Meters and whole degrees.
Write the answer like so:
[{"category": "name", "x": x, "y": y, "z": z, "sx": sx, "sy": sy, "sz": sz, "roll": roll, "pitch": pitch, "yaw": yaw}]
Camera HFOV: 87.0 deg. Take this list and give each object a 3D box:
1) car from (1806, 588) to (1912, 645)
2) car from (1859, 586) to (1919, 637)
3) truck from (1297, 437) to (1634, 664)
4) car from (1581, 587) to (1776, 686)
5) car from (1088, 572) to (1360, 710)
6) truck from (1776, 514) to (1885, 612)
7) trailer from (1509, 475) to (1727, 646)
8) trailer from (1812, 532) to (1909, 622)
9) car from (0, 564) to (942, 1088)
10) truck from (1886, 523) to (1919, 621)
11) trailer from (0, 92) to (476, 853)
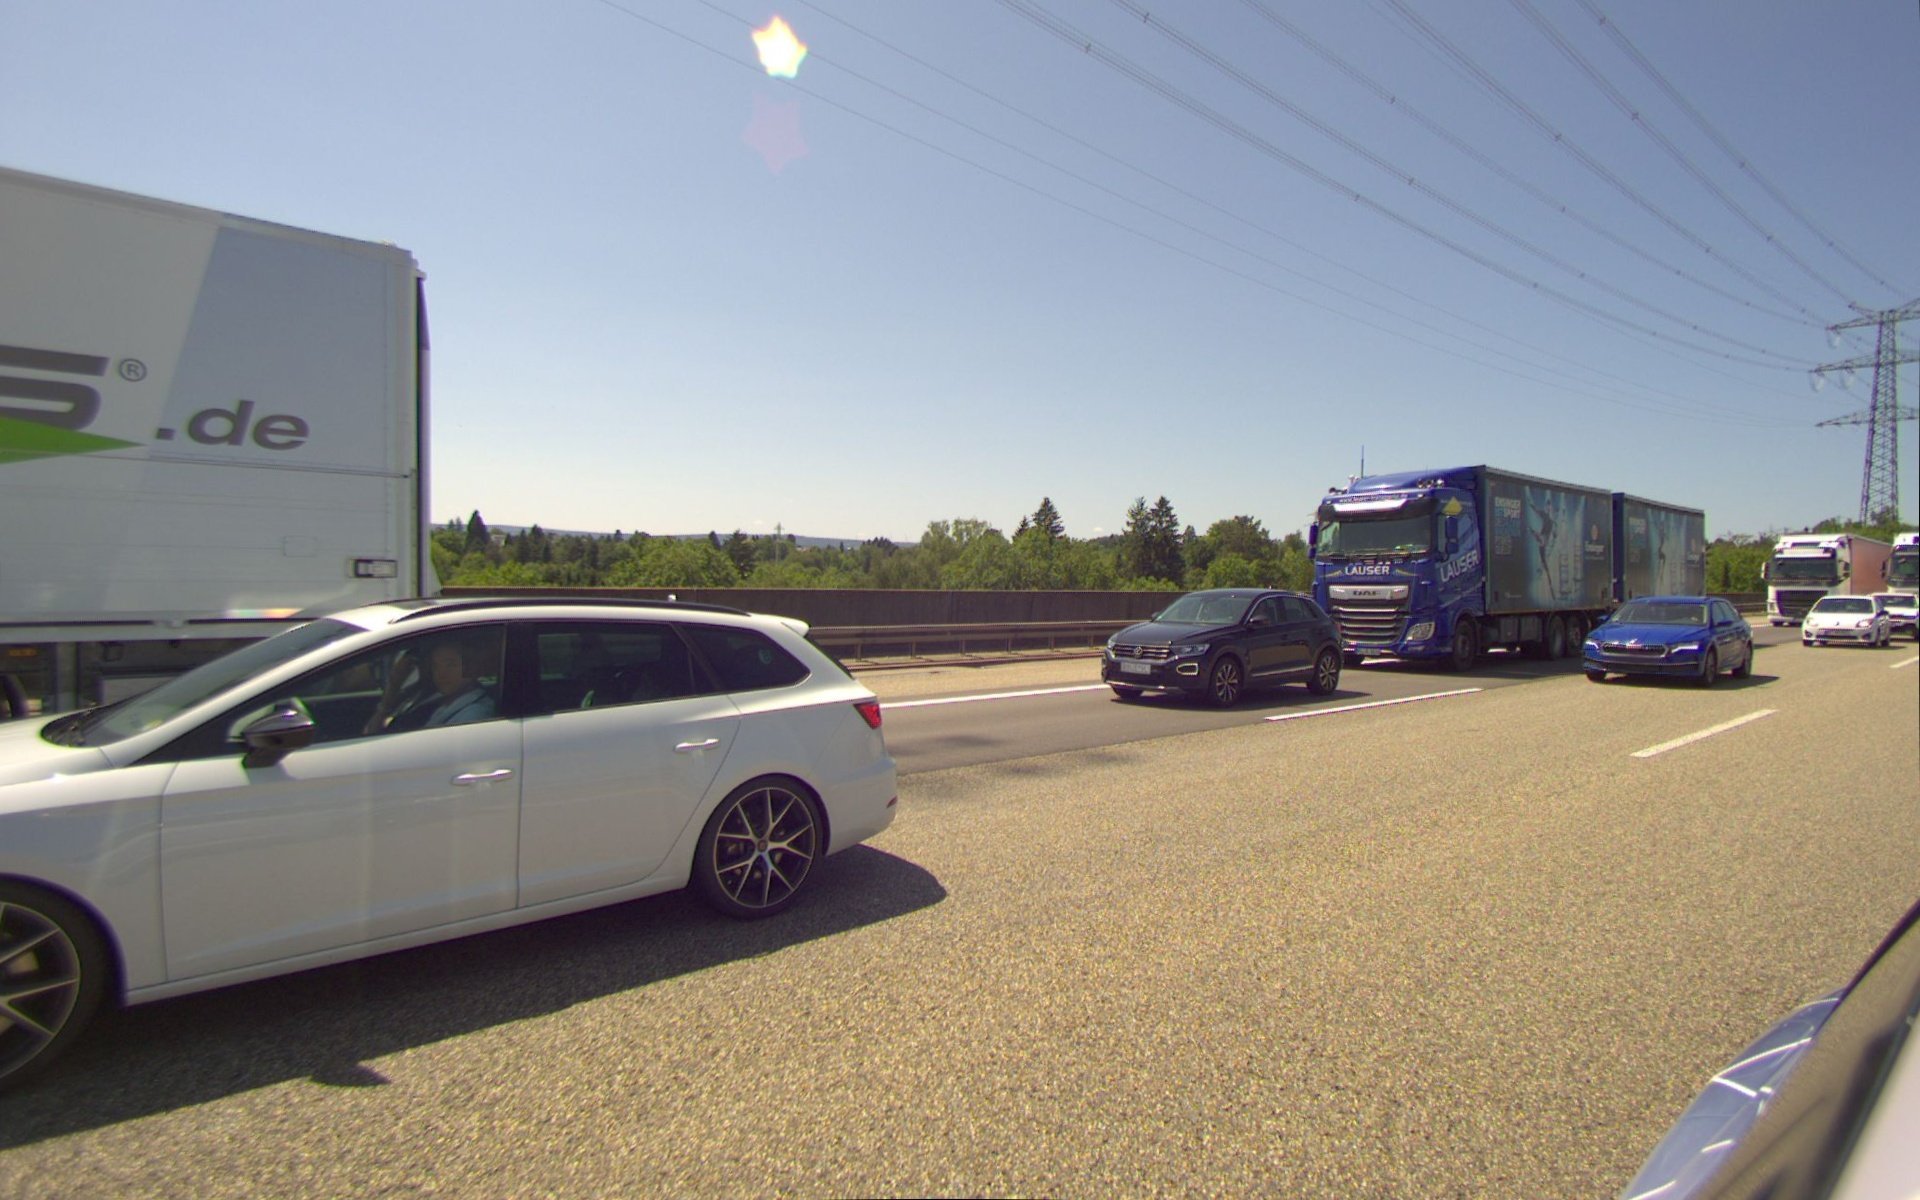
[{"category": "car", "x": 25.628, "y": 0.415, "z": 28.812, "sx": 4.071, "sy": 1.470, "sz": 1.711, "roll": -1, "pitch": 1, "yaw": -40}, {"category": "car", "x": 30.405, "y": 0.328, "z": 32.508, "sx": 4.071, "sy": 1.528, "sz": 1.711, "roll": -1, "pitch": 1, "yaw": -40}, {"category": "truck", "x": 11.480, "y": -0.954, "z": 22.249, "sx": 10.211, "sy": 3.999, "sz": 2.857, "roll": -1, "pitch": 1, "yaw": -40}, {"category": "car", "x": 12.561, "y": 0.539, "z": 17.579, "sx": 4.483, "sy": 1.470, "sz": 1.711, "roll": -1, "pitch": 1, "yaw": -40}, {"category": "car", "x": 3.810, "y": 0.467, "z": 14.260, "sx": 4.045, "sy": 1.675, "sz": 1.711, "roll": -1, "pitch": 1, "yaw": -40}, {"category": "truck", "x": 39.082, "y": -1.592, "z": 45.323, "sx": 8.122, "sy": 4.037, "sz": 2.606, "roll": -1, "pitch": 1, "yaw": -41}, {"category": "trailer", "x": 18.598, "y": -1.025, "z": 28.328, "sx": 8.486, "sy": 4.140, "sz": 2.833, "roll": -1, "pitch": 1, "yaw": -41}, {"category": "trailer", "x": 45.484, "y": -1.154, "z": 51.025, "sx": 8.928, "sy": 4.169, "sz": 2.606, "roll": -1, "pitch": 1, "yaw": -41}, {"category": "car", "x": -2.276, "y": 0.631, "z": 4.367, "sx": 4.352, "sy": 1.470, "sz": 1.711, "roll": 0, "pitch": 0, "yaw": -42}, {"category": "truck", "x": 41.215, "y": -1.172, "z": 42.102, "sx": 8.117, "sy": 3.874, "sz": 2.848, "roll": -1, "pitch": 1, "yaw": -39}, {"category": "trailer", "x": -7.218, "y": -0.640, "z": 5.181, "sx": 8.073, "sy": 3.940, "sz": 2.903, "roll": -1, "pitch": 1, "yaw": -41}]
